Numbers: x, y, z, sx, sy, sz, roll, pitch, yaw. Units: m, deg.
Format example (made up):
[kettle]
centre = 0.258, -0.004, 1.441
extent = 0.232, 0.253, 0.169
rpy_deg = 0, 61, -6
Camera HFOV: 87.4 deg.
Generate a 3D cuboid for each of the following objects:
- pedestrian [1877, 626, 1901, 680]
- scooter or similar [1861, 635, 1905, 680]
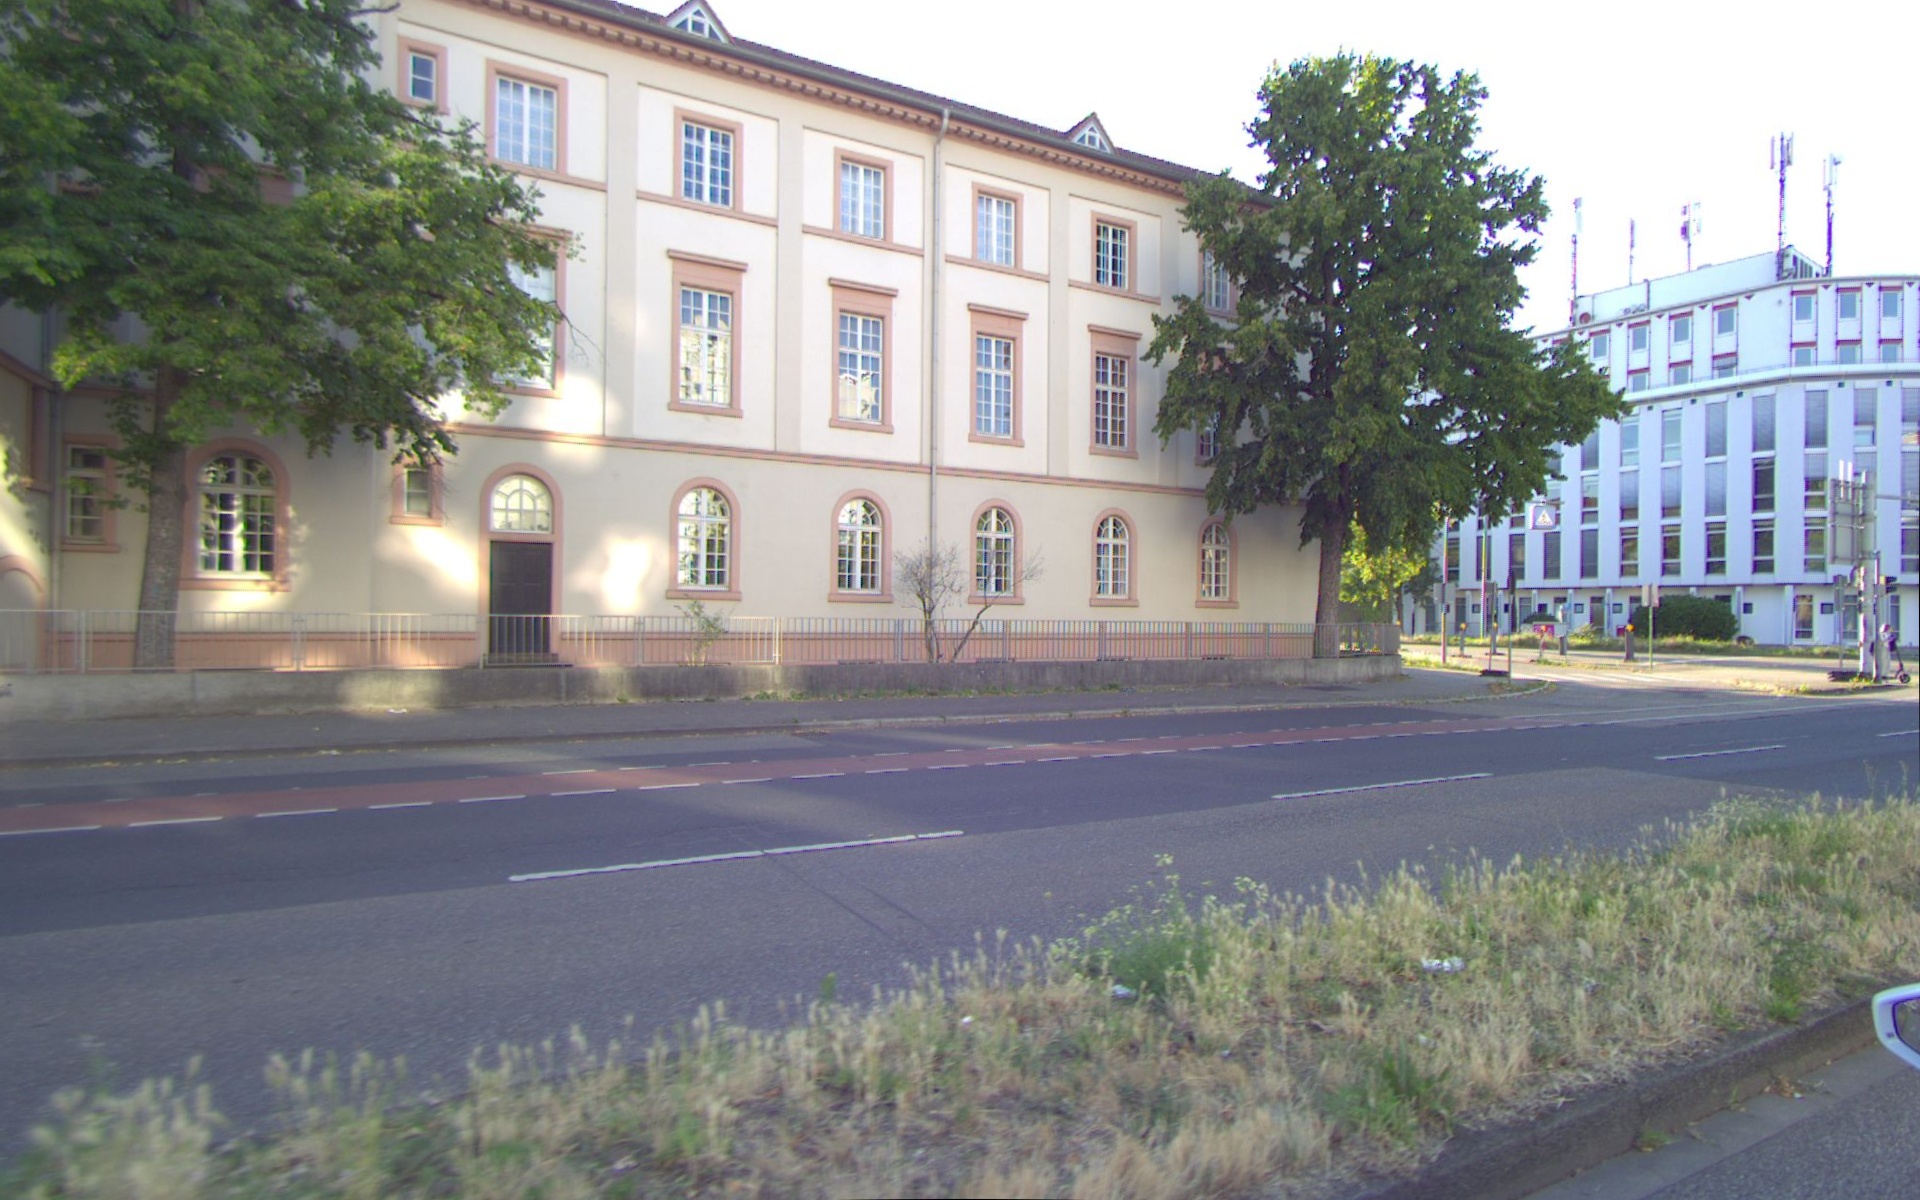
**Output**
[pedestrian]
centre = 26.329, 1.492, 28.476
extent = 0.332, 1.525, 0.470
rpy_deg = 1, -1, -40
[scooter or similar]
centre = 26.084, 1.615, 28.397
extent = 0.368, 1.250, 0.886
rpy_deg = 1, -1, -39
